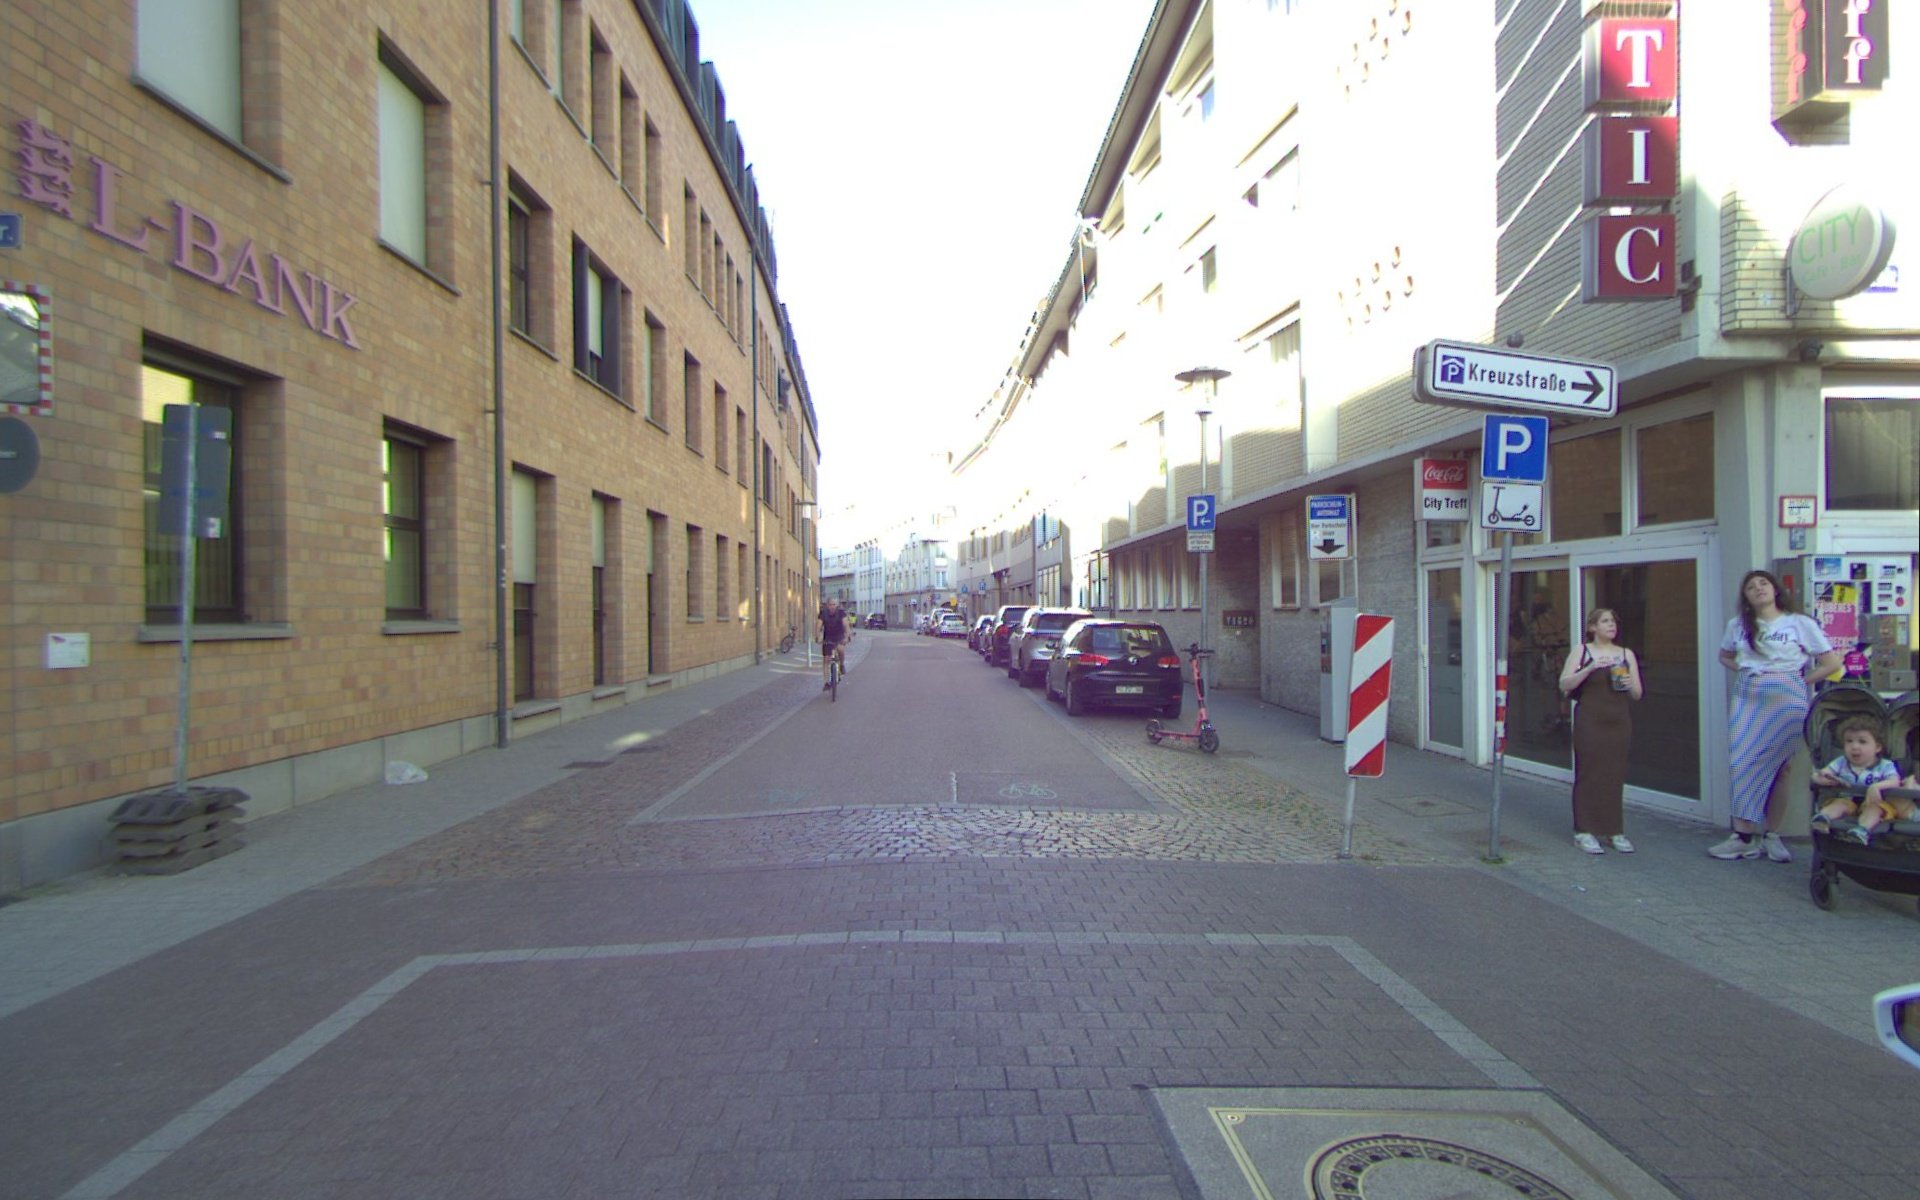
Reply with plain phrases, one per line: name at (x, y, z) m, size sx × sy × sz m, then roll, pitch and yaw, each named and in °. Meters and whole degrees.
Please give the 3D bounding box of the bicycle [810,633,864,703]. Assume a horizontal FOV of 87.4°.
bicycle at (-2.196, 1.201, 18.113) m, size 0.691 × 1.118 × 1.828 m, roll -4°, pitch -1°, yaw -1°

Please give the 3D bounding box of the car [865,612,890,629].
car at (-8.562, 2.105, 104.162) m, size 1.904 × 1.673 × 3.824 m, roll 0°, pitch -1°, yaw -16°

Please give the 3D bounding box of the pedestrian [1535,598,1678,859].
pedestrian at (4.171, 0.807, 6.514) m, size 0.523 × 1.600 × 0.511 m, roll -3°, pitch -1°, yaw 4°

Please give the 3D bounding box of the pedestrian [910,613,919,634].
pedestrian at (-3.230, 1.683, 71.215) m, size 0.561 × 1.499 × 0.473 m, roll 0°, pitch 0°, yaw -10°

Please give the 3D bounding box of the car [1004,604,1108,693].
car at (1.956, 0.984, 21.558) m, size 1.641 × 1.683 × 4.080 m, roll 2°, pitch -1°, yaw -2°

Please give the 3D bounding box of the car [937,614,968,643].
car at (-0.490, 1.731, 62.362) m, size 1.661 × 1.701 × 3.505 m, roll 2°, pitch -1°, yaw -4°

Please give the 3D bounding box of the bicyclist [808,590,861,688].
bicyclist at (-2.245, 0.695, 18.133) m, size 0.758 × 1.677 × 0.957 m, roll -3°, pitch -1°, yaw -1°

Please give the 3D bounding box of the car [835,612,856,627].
car at (-13.658, 2.337, 119.827) m, size 1.904 × 1.673 × 3.824 m, roll 1°, pitch -1°, yaw -16°

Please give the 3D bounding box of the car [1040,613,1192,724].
car at (2.395, 1.010, 16.323) m, size 1.707 × 1.506 × 3.810 m, roll 2°, pitch 0°, yaw -2°

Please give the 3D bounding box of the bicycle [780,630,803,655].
bicycle at (-6.520, 1.624, 38.946) m, size 0.631 × 0.893 × 2.555 m, roll 1°, pitch -1°, yaw -5°

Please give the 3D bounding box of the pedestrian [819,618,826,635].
pedestrian at (-12.352, 2.394, 90.191) m, size 0.533 × 1.565 × 0.405 m, roll 1°, pitch 0°, yaw -4°

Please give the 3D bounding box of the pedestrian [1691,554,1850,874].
pedestrian at (4.998, 0.669, 6.212) m, size 0.650 × 1.843 × 0.568 m, roll -4°, pitch -1°, yaw 40°

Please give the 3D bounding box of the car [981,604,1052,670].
car at (1.566, 1.039, 28.962) m, size 1.641 × 1.727 × 4.012 m, roll 2°, pitch -1°, yaw -2°

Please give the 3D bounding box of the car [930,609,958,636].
car at (-1.108, 1.518, 68.246) m, size 1.661 × 1.799 × 3.654 m, roll 2°, pitch -1°, yaw -4°

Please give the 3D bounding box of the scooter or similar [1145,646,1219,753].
scooter or similar at (2.592, 1.145, 11.771) m, size 0.207 × 1.199 × 0.871 m, roll 0°, pitch -1°, yaw -42°

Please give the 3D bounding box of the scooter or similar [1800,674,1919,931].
scooter or similar at (4.883, 1.006, 5.209) m, size 0.787 × 1.159 × 0.949 m, roll -1°, pitch 0°, yaw 41°
